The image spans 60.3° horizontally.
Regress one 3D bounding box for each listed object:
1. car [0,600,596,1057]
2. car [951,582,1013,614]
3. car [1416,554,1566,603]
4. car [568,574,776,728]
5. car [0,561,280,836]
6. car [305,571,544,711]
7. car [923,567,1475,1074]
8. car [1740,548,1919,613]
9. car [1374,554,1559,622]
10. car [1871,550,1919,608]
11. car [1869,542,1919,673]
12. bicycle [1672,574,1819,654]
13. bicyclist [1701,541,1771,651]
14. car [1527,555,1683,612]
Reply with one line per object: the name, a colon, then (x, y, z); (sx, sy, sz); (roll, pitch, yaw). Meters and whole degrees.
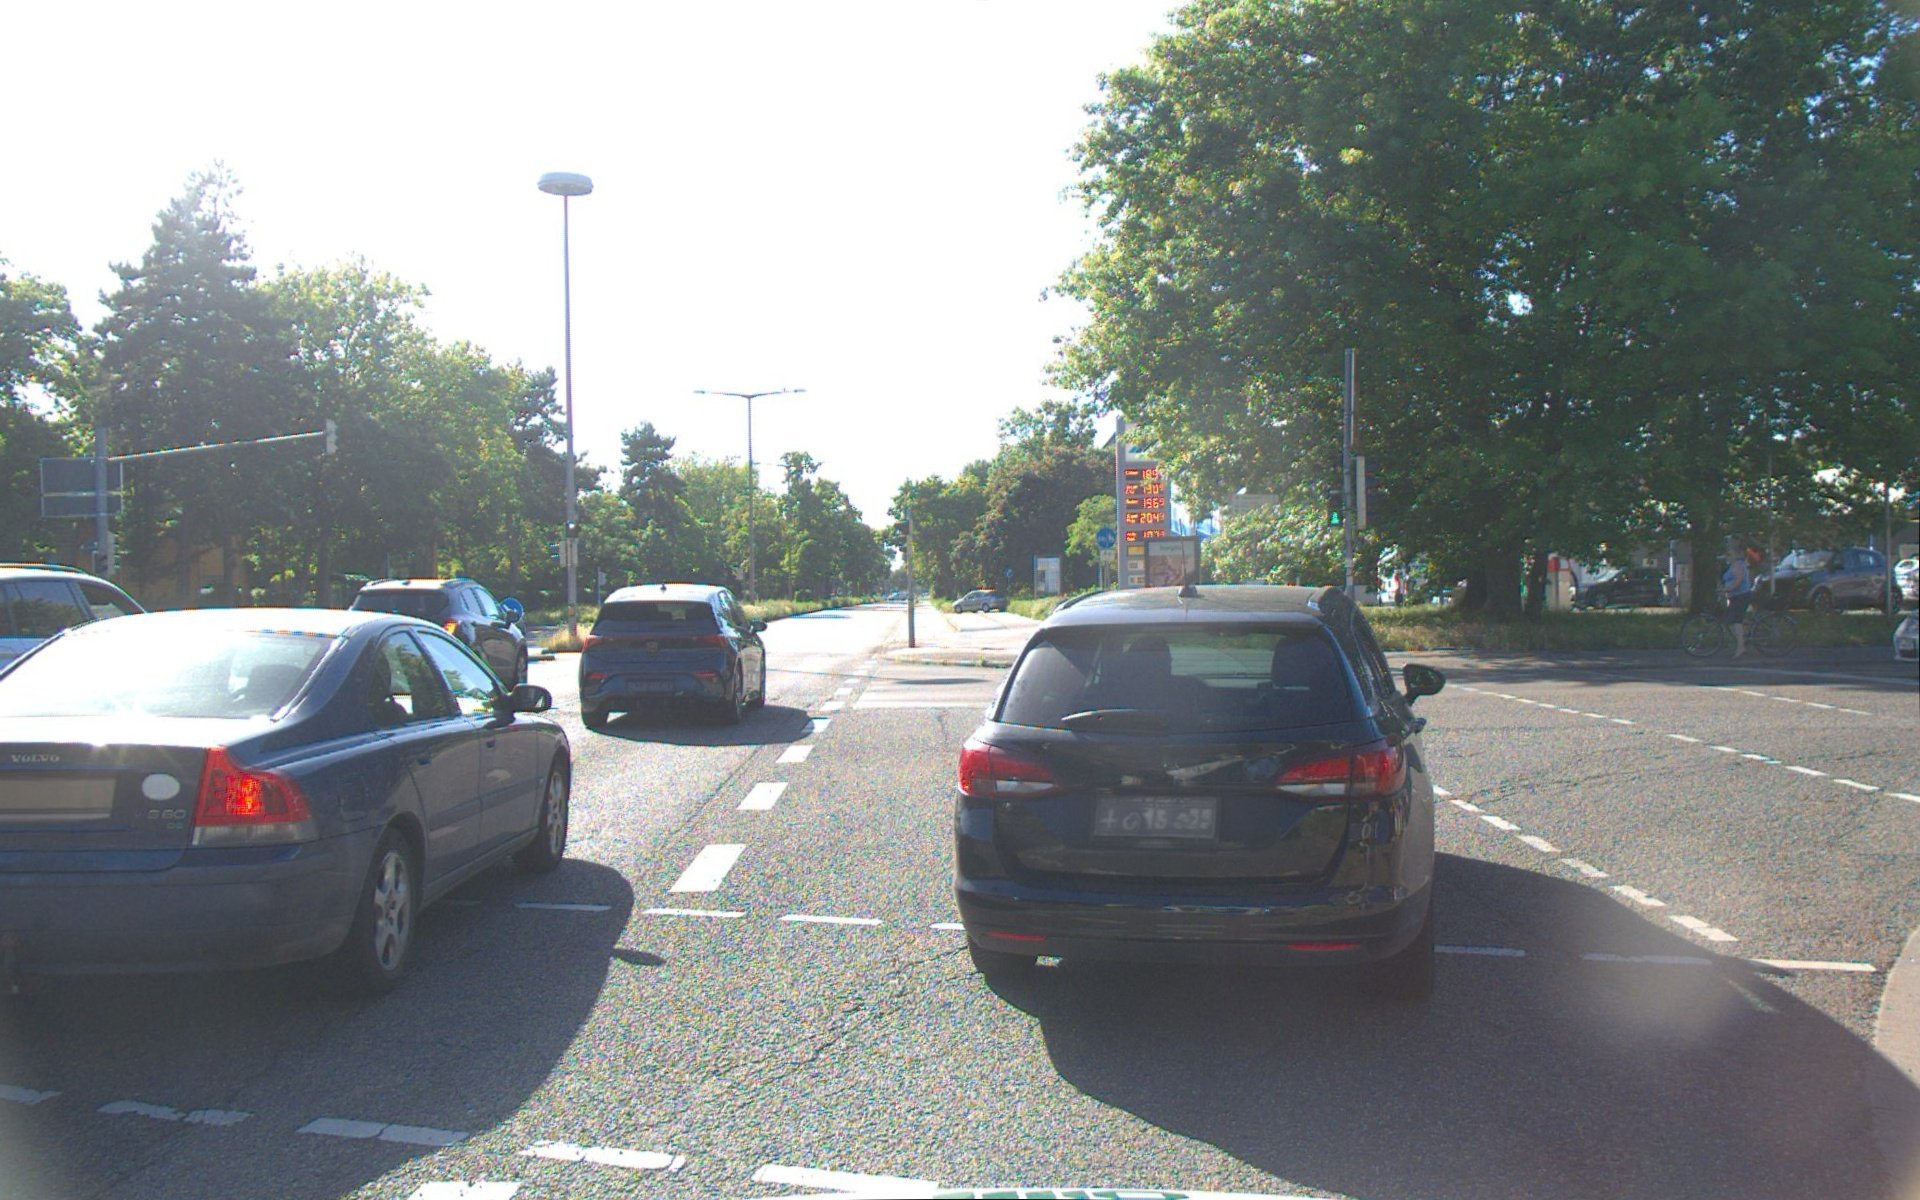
car: (-2.974, 0.724, 7.388); (1.799, 1.419, 4.363); (1, 0, -1)
car: (1.442, -0.144, 109.439); (1.983, 2.049, 3.939); (1, 0, -41)
car: (15.912, -0.626, 49.617); (3.917, 1.358, 1.793); (1, 0, -13)
car: (-3.282, 0.542, 19.675); (1.799, 1.616, 4.363); (0, 0, -1)
car: (-6.767, 0.593, 11.781); (1.903, 1.681, 4.366); (1, 0, 2)
car: (-7.062, 0.504, 22.321); (1.872, 1.681, 4.363); (1, 0, -1)
car: (1.251, 0.637, 7.315); (1.724, 1.517, 4.295); (-1, 1, 14)
car: (20.023, -0.428, 37.989); (3.936, 1.400, 1.746); (1, 0, -25)
car: (16.815, -0.385, 55.040); (5.522, 2.136, 1.999); (1, 0, -2)
car: (29.221, -0.583, 48.502); (3.907, 1.635, 1.999); (1, 0, -3)
car: (13.577, 0.038, 19.368); (4.769, 1.515, 1.844); (-1, -1, 11)
bicycle: (12.138, 0.213, 25.582); (1.977, 1.161, 0.529); (-2, 0, 5)
bicyclist: (12.007, -0.059, 25.599); (0.810, 1.670, 0.543); (-1, 0, 5)
car: (18.198, -0.454, 46.719); (3.916, 1.538, 1.528); (1, 0, -11)
